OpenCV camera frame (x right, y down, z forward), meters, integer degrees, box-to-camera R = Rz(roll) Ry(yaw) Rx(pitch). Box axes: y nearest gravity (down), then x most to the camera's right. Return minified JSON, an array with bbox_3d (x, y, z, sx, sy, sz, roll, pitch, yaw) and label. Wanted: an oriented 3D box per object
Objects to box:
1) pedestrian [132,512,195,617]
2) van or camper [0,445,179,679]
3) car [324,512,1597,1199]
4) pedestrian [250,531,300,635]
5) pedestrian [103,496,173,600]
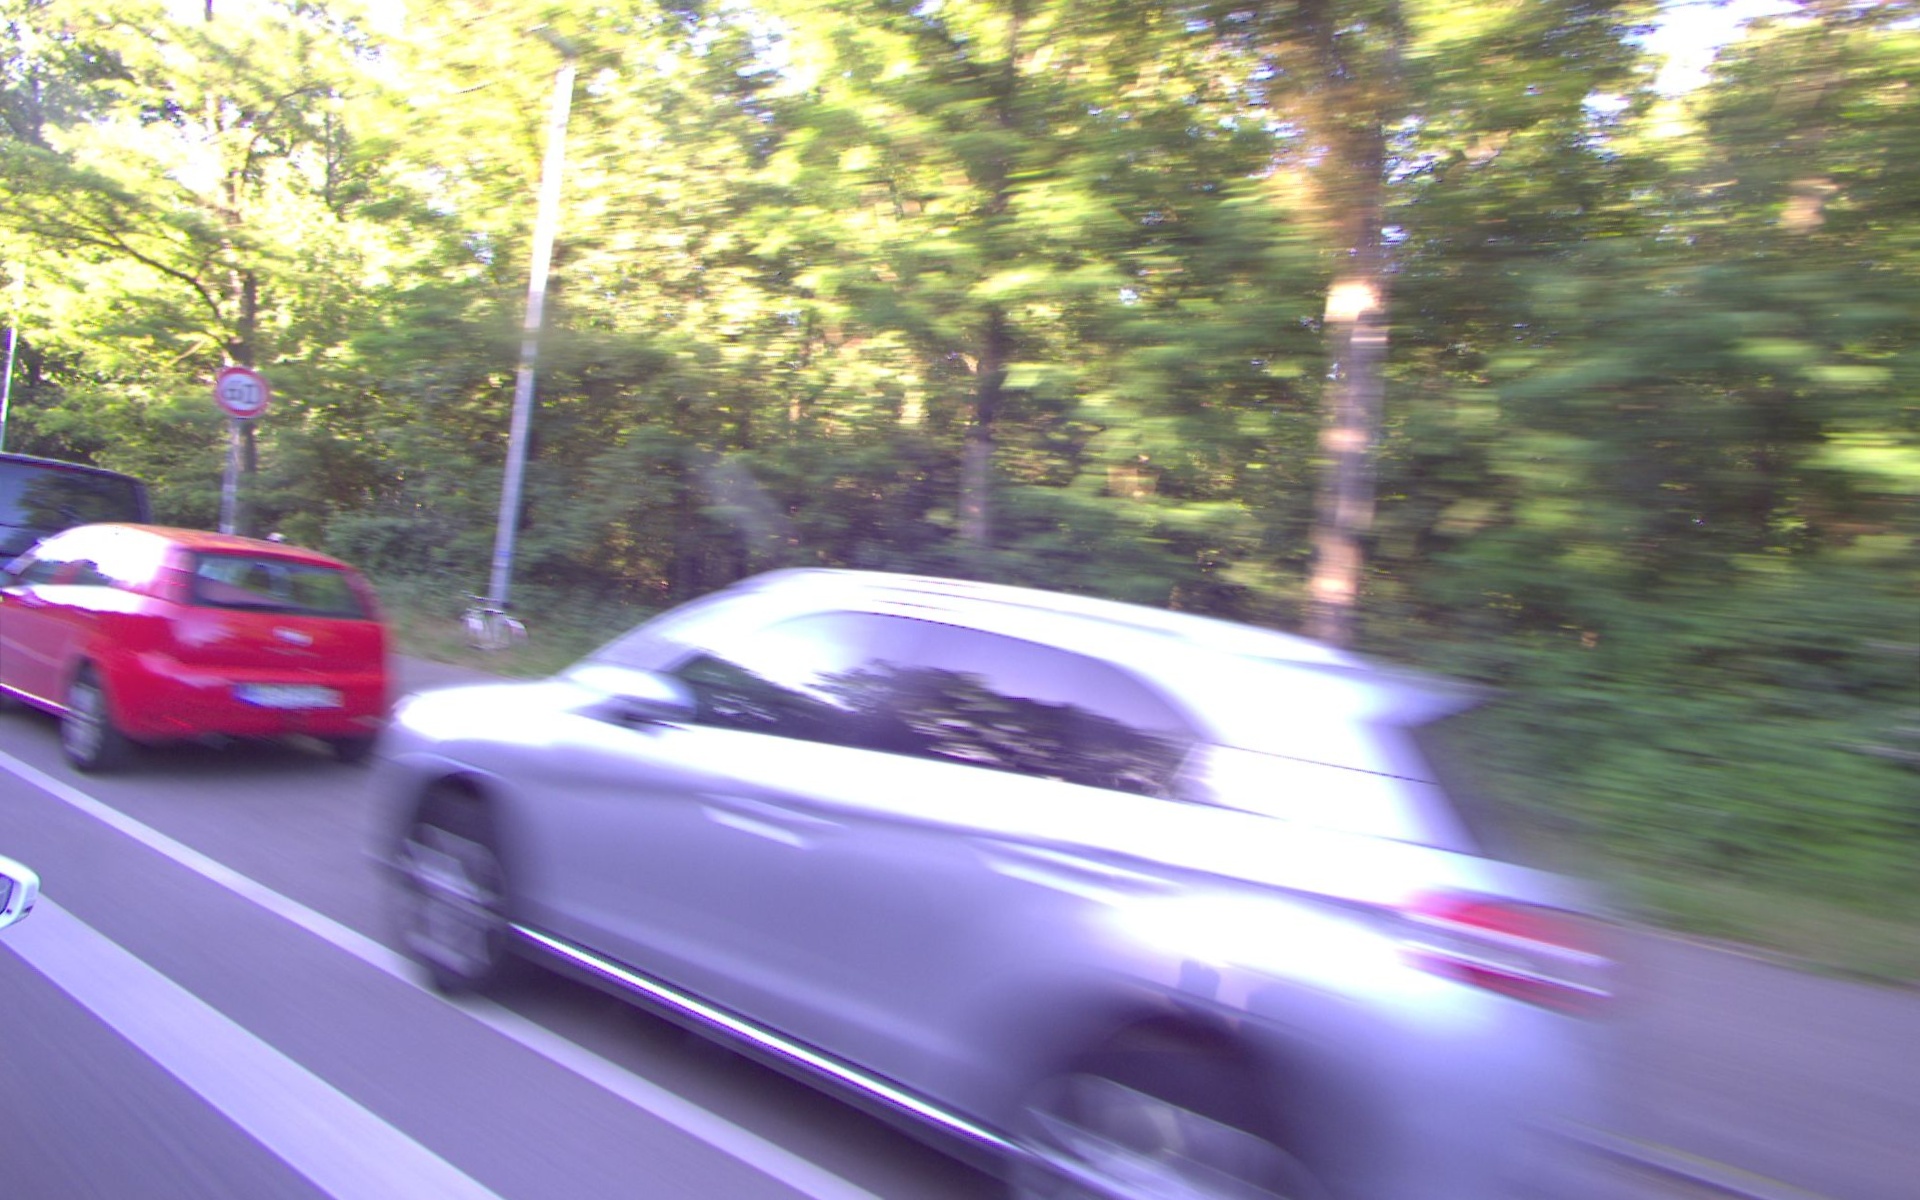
[{"bbox_3d":[-12.794,-0.570,16.161,0.474,1.608,0.564,7,1,33],"label":"pedestrian"},{"bbox_3d":[-10.153,-0.513,10.362,4.513,2.038,1.899,6,0,34],"label":"van or camper"},{"bbox_3d":[-0.212,0.717,3.517,3.963,1.614,1.800,6,0,33],"label":"car"},{"bbox_3d":[-10.959,-0.272,16.105,0.474,1.608,0.394,7,1,33],"label":"pedestrian"},{"bbox_3d":[-14.938,-0.944,18.279,0.892,1.786,0.618,6,1,33],"label":"pedestrian"}]
